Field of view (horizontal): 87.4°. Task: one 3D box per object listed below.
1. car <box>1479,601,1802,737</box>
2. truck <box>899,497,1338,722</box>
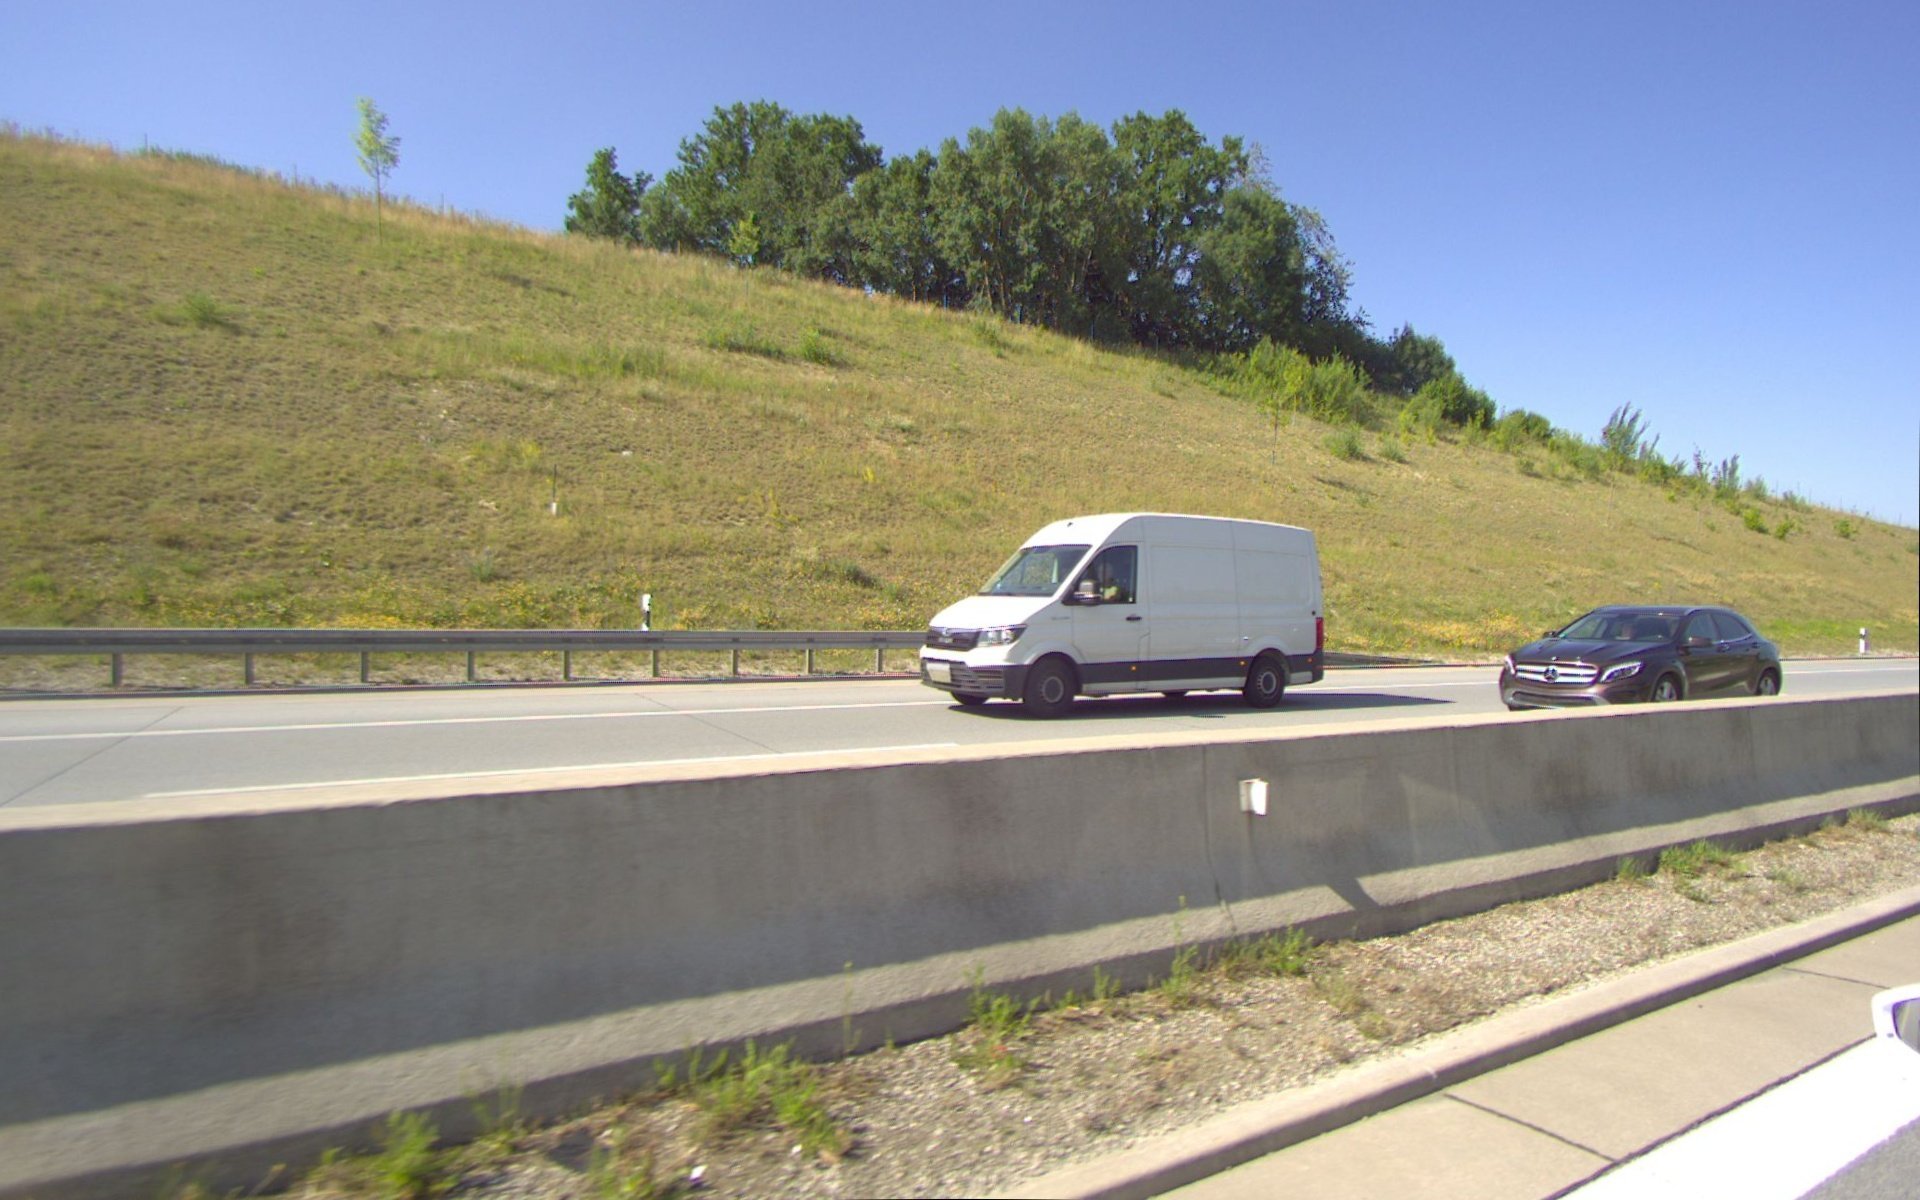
[{"bbox_3d":[8.919,0.800,13.096,4.283,1.481,1.844,1,1,-31],"label":"car"},{"bbox_3d":[2.273,0.132,13.569,5.884,2.493,2.101,1,1,-31],"label":"truck"}]
